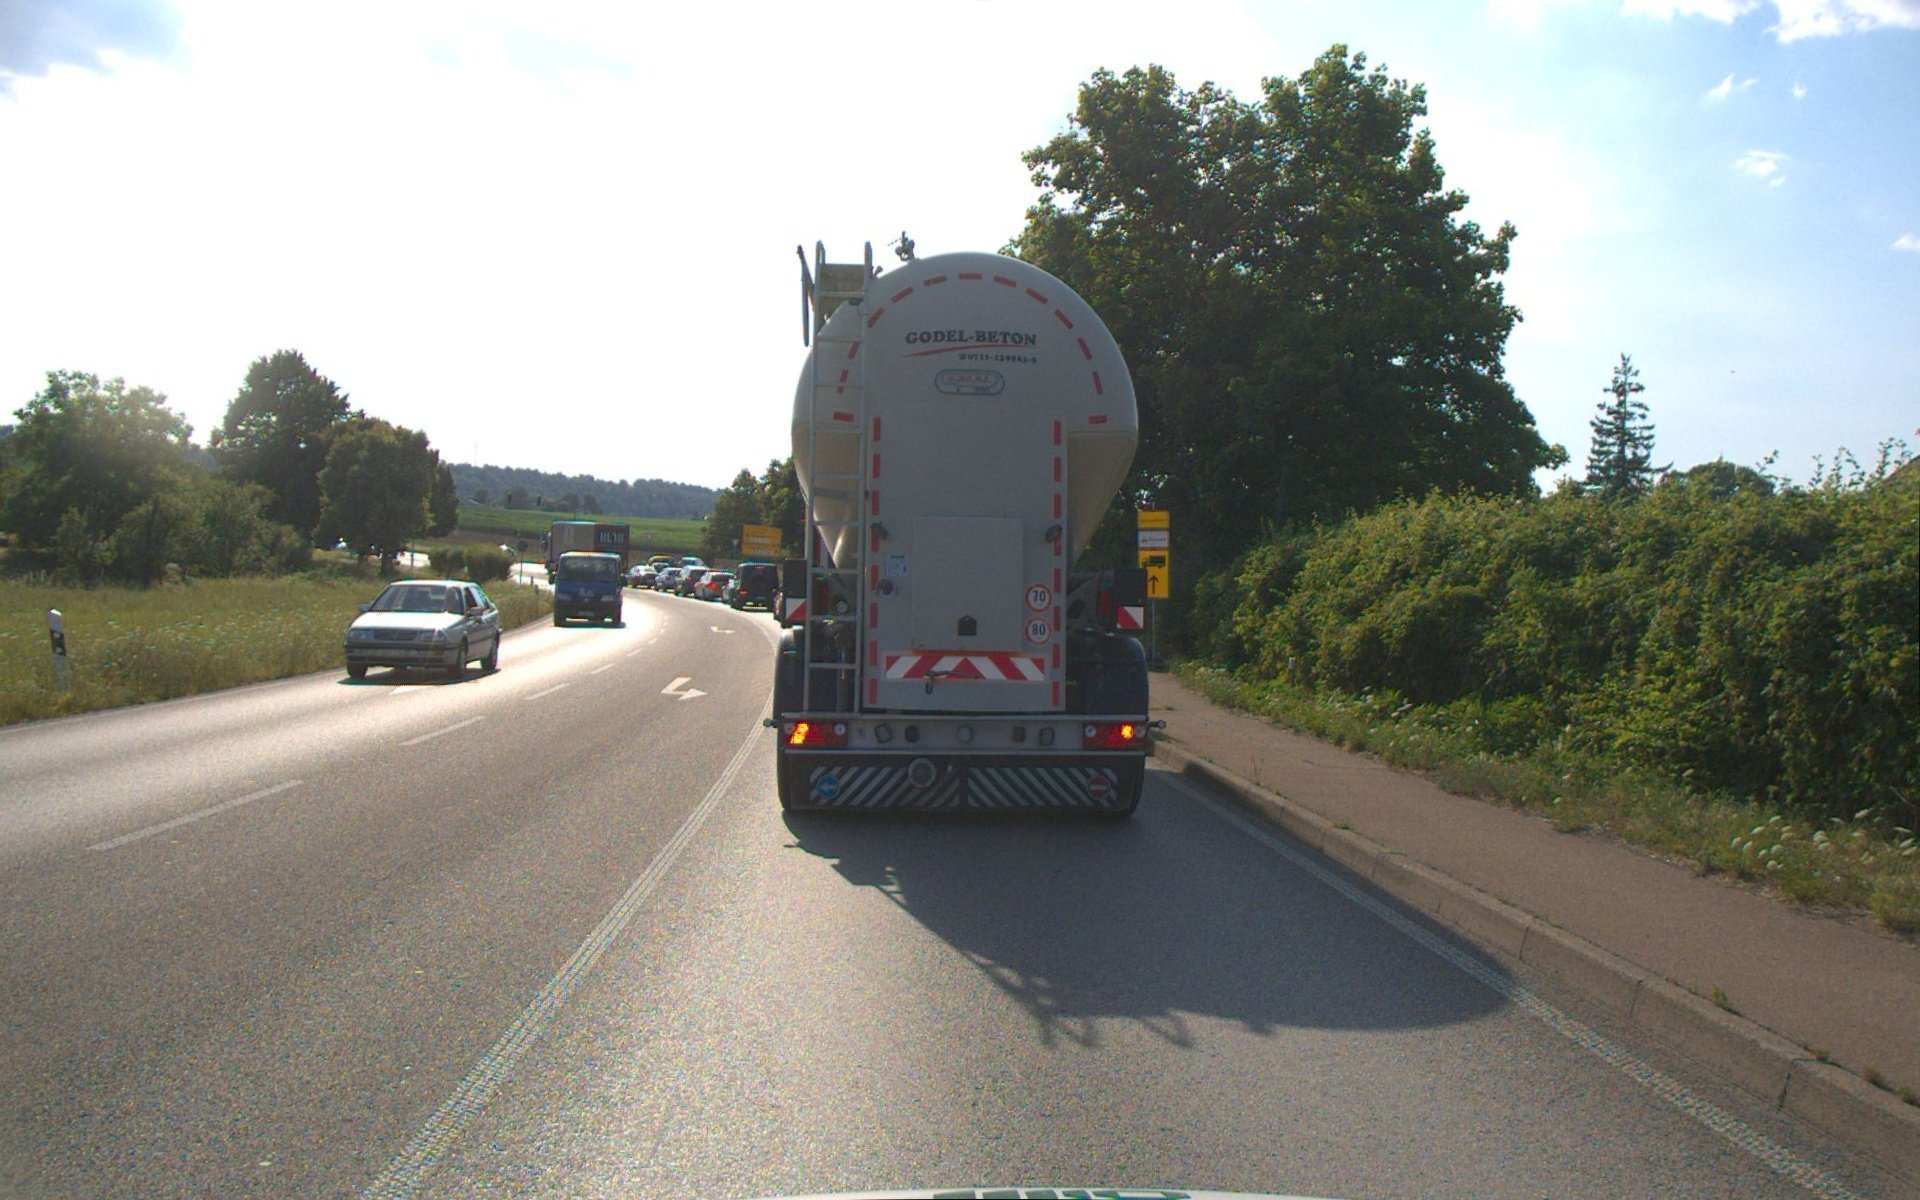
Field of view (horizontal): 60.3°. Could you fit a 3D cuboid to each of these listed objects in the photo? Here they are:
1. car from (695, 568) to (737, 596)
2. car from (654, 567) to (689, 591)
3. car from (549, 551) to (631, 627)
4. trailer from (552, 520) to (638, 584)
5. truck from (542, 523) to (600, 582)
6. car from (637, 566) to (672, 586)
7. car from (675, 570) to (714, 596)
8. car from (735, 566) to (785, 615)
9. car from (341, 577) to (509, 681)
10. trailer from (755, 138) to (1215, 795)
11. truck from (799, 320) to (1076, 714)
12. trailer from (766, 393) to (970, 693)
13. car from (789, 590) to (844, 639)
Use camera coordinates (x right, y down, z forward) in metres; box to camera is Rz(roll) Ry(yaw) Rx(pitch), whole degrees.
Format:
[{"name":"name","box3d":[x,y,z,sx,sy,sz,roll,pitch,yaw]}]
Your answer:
[{"name":"car","box3d":[-12.782,-0.939,86.482,1.556,1.364,3.407,2,1,-19]},{"name":"car","box3d":[-17.570,-1.274,100.653,1.556,1.364,3.407,2,1,-19]},{"name":"car","box3d":[-11.376,-0.341,51.164,1.960,2.174,4.772,1,0,-7]},{"name":"trailer","box3d":[-27.532,-3.557,124.069,3.332,4.426,14.183,2,1,-25]},{"name":"truck","box3d":[-30.963,-3.771,131.627,3.333,4.426,5.661,2,0,-25]},{"name":"car","box3d":[-19.778,-1.566,106.940,1.743,1.227,3.407,2,1,-19]},{"name":"car","box3d":[-14.909,-0.945,92.778,1.556,1.364,3.407,2,1,-19]},{"name":"car","box3d":[-8.776,-0.441,72.447,1.829,2.049,3.708,1,1,-12]},{"name":"car","box3d":[-8.223,0.397,25.775,1.674,1.453,4.172,1,0,-7]},{"name":"trailer","box3d":[-0.110,-0.860,15.371,2.852,4.076,9.923,1,0,-3]},{"name":"truck","box3d":[-0.343,-0.876,19.388,2.852,4.076,4.057,1,0,-3]},{"name":"trailer","box3d":[-1.583,-0.929,31.932,2.895,4.390,14.171,2,0,-2]},{"name":"car","box3d":[-4.307,0.413,49.683,1.549,1.364,3.422,2,0,-5]}]
